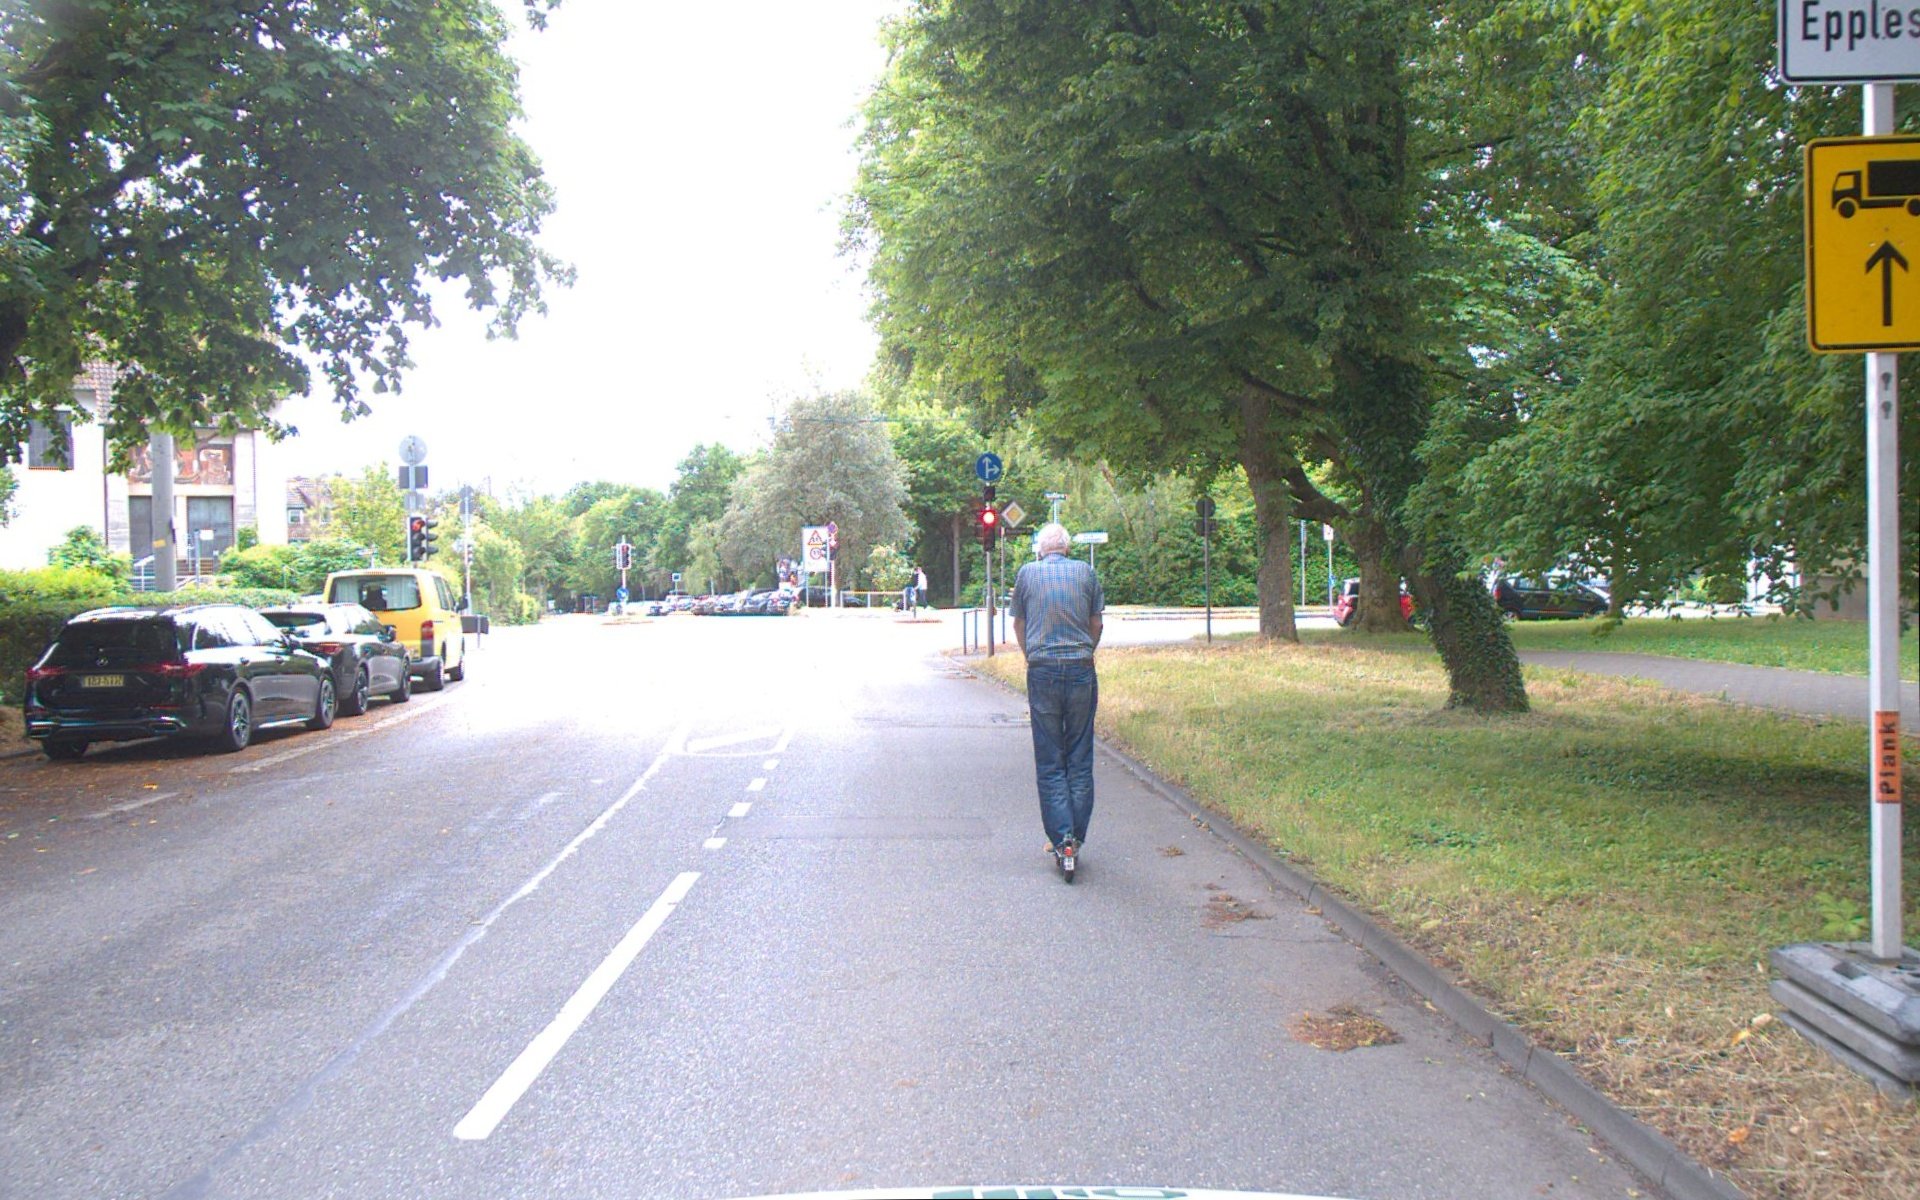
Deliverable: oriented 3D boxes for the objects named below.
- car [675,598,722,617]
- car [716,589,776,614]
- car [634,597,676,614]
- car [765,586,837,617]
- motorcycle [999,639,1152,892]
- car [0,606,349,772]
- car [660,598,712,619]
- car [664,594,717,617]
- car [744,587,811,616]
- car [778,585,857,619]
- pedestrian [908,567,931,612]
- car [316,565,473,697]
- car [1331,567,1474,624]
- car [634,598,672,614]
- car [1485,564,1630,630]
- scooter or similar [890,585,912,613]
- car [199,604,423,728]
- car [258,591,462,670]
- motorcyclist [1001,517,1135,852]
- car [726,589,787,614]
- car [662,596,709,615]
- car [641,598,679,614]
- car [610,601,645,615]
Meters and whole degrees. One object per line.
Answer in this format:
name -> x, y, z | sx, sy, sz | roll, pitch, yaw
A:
car -> -22.575, 0.640, 142.688 | 3.912, 1.536, 1.797 | -2, 0, -8
car -> -14.324, 0.088, 110.714 | 3.912, 1.536, 1.797 | -2, 0, -8
car -> -30.028, 0.576, 163.068 | 3.912, 1.536, 1.797 | -2, 0, -8
car -> -8.831, 0.084, 91.734 | 3.912, 1.536, 1.797 | -2, 0, -8
motorcycle -> 0.601, 0.851, 9.011 | 0.659, 1.239, 1.273 | 0, 0, -4
car -> -8.036, 0.816, 17.336 | 1.855, 1.435, 4.549 | -2, 0, -5
car -> -21.680, 0.644, 130.868 | 3.912, 1.536, 1.797 | -2, 0, -8
car -> -20.394, 0.412, 125.339 | 3.912, 1.536, 1.797 | -2, 0, -8
car -> -10.866, 0.089, 98.395 | 3.912, 1.536, 1.797 | -2, 0, -8
car -> -7.333, 0.094, 84.719 | 3.912, 1.536, 1.797 | -2, 0, -8
pedestrian -> -1.605, -0.418, 65.904 | 0.716, 1.792, 0.662 | -2, 0, 14
car -> -9.510, 0.492, 28.145 | 1.824, 1.998, 4.493 | -2, 0, -10
car -> 13.161, -0.144, 49.342 | 3.902, 1.584, 1.802 | 0, 3, 7
car -> -33.275, 0.674, 179.317 | 3.912, 1.536, 1.797 | -2, 0, -8
car -> 17.427, -0.125, 48.355 | 3.904, 1.756, 1.801 | 1, 4, 20
scooter or similar -> -2.358, -0.036, 66.089 | 0.695, 1.067, 0.788 | -2, 0, 14
car -> -8.701, 0.816, 22.558 | 1.760, 1.440, 4.184 | -2, 0, -6
car -> -13.038, 0.641, 36.162 | 3.916, 1.536, 1.796 | -1, 2, -11
motorcyclist -> 0.587, 0.453, 9.192 | 0.659, 1.792, 0.638 | 0, 0, -4
car -> -13.432, 0.081, 108.899 | 3.912, 1.536, 1.797 | -2, 0, -8
car -> -24.013, 0.455, 144.837 | 3.912, 1.536, 1.797 | -2, 0, -8
car -> -31.663, 0.676, 174.639 | 3.912, 1.536, 1.797 | -2, 0, -8
car -> -39.479, 0.967, 196.250 | 3.912, 1.536, 1.797 | -2, 0, -8
